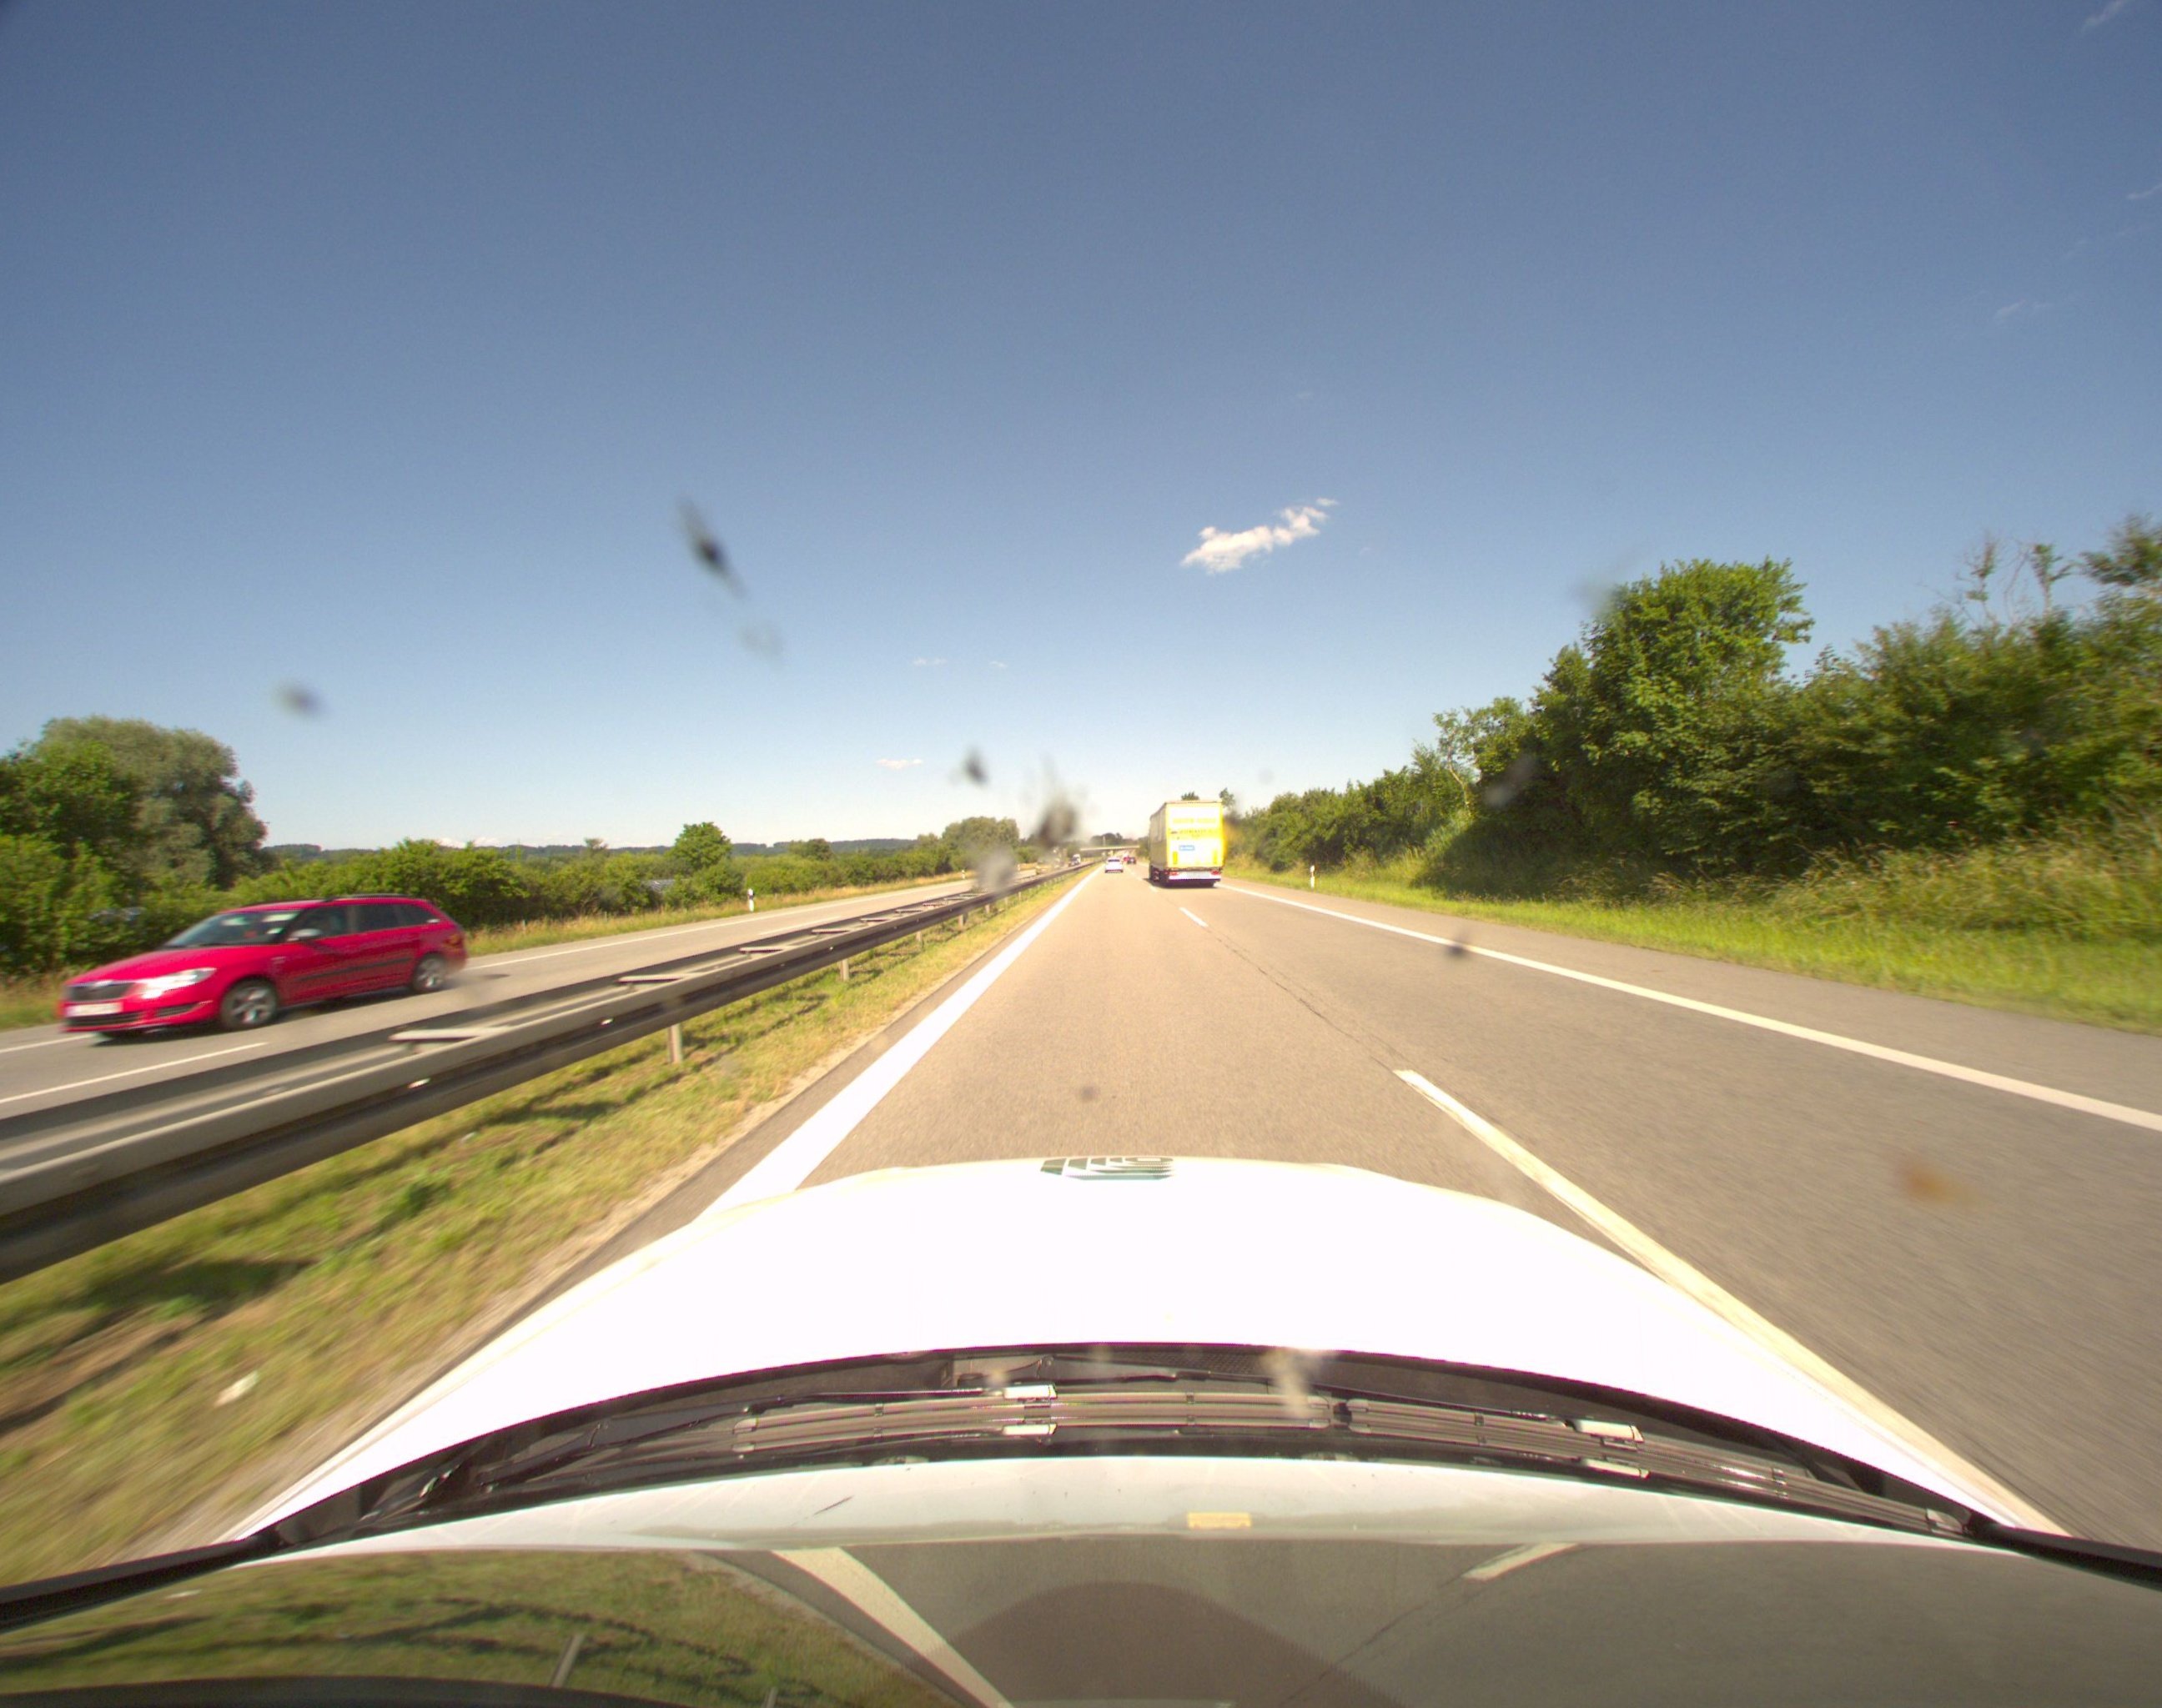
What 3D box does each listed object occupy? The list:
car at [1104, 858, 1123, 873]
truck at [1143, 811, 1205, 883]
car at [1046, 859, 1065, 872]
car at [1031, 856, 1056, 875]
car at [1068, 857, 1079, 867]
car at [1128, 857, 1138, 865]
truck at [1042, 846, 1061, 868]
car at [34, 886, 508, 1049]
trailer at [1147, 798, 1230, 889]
[{"bbox_3d":[3.199,1.095,79.792,1.835,1.416,4.003,0,-1,3],"label":"car"},{"bbox_3d":[5.586,-0.371,49.913,3.157,4.114,6.389,0,-1,1],"label":"truck"},{"bbox_3d":[-3.222,1.427,103.925,1.759,1.420,4.474,-5,-1,4],"label":"car"},{"bbox_3d":[-4.022,1.204,87.974,1.942,1.771,4.753,-5,-1,4],"label":"car"},{"bbox_3d":[-1.393,1.464,149.477,1.719,1.582,4.770,-5,-1,3],"label":"car"},{"bbox_3d":[10.094,1.301,159.289,1.835,1.520,4.003,0,-1,3],"label":"car"},{"bbox_3d":[-5.890,0.604,162.534,3.157,4.114,6.389,-4,-1,1],"label":"truck"},{"bbox_3d":[-10.354,1.326,11.057,1.723,1.511,4.483,-4,-1,3],"label":"car"},{"bbox_3d":[5.386,-0.422,43.373,3.172,4.059,13.193,0,-1,2],"label":"trailer"}]
